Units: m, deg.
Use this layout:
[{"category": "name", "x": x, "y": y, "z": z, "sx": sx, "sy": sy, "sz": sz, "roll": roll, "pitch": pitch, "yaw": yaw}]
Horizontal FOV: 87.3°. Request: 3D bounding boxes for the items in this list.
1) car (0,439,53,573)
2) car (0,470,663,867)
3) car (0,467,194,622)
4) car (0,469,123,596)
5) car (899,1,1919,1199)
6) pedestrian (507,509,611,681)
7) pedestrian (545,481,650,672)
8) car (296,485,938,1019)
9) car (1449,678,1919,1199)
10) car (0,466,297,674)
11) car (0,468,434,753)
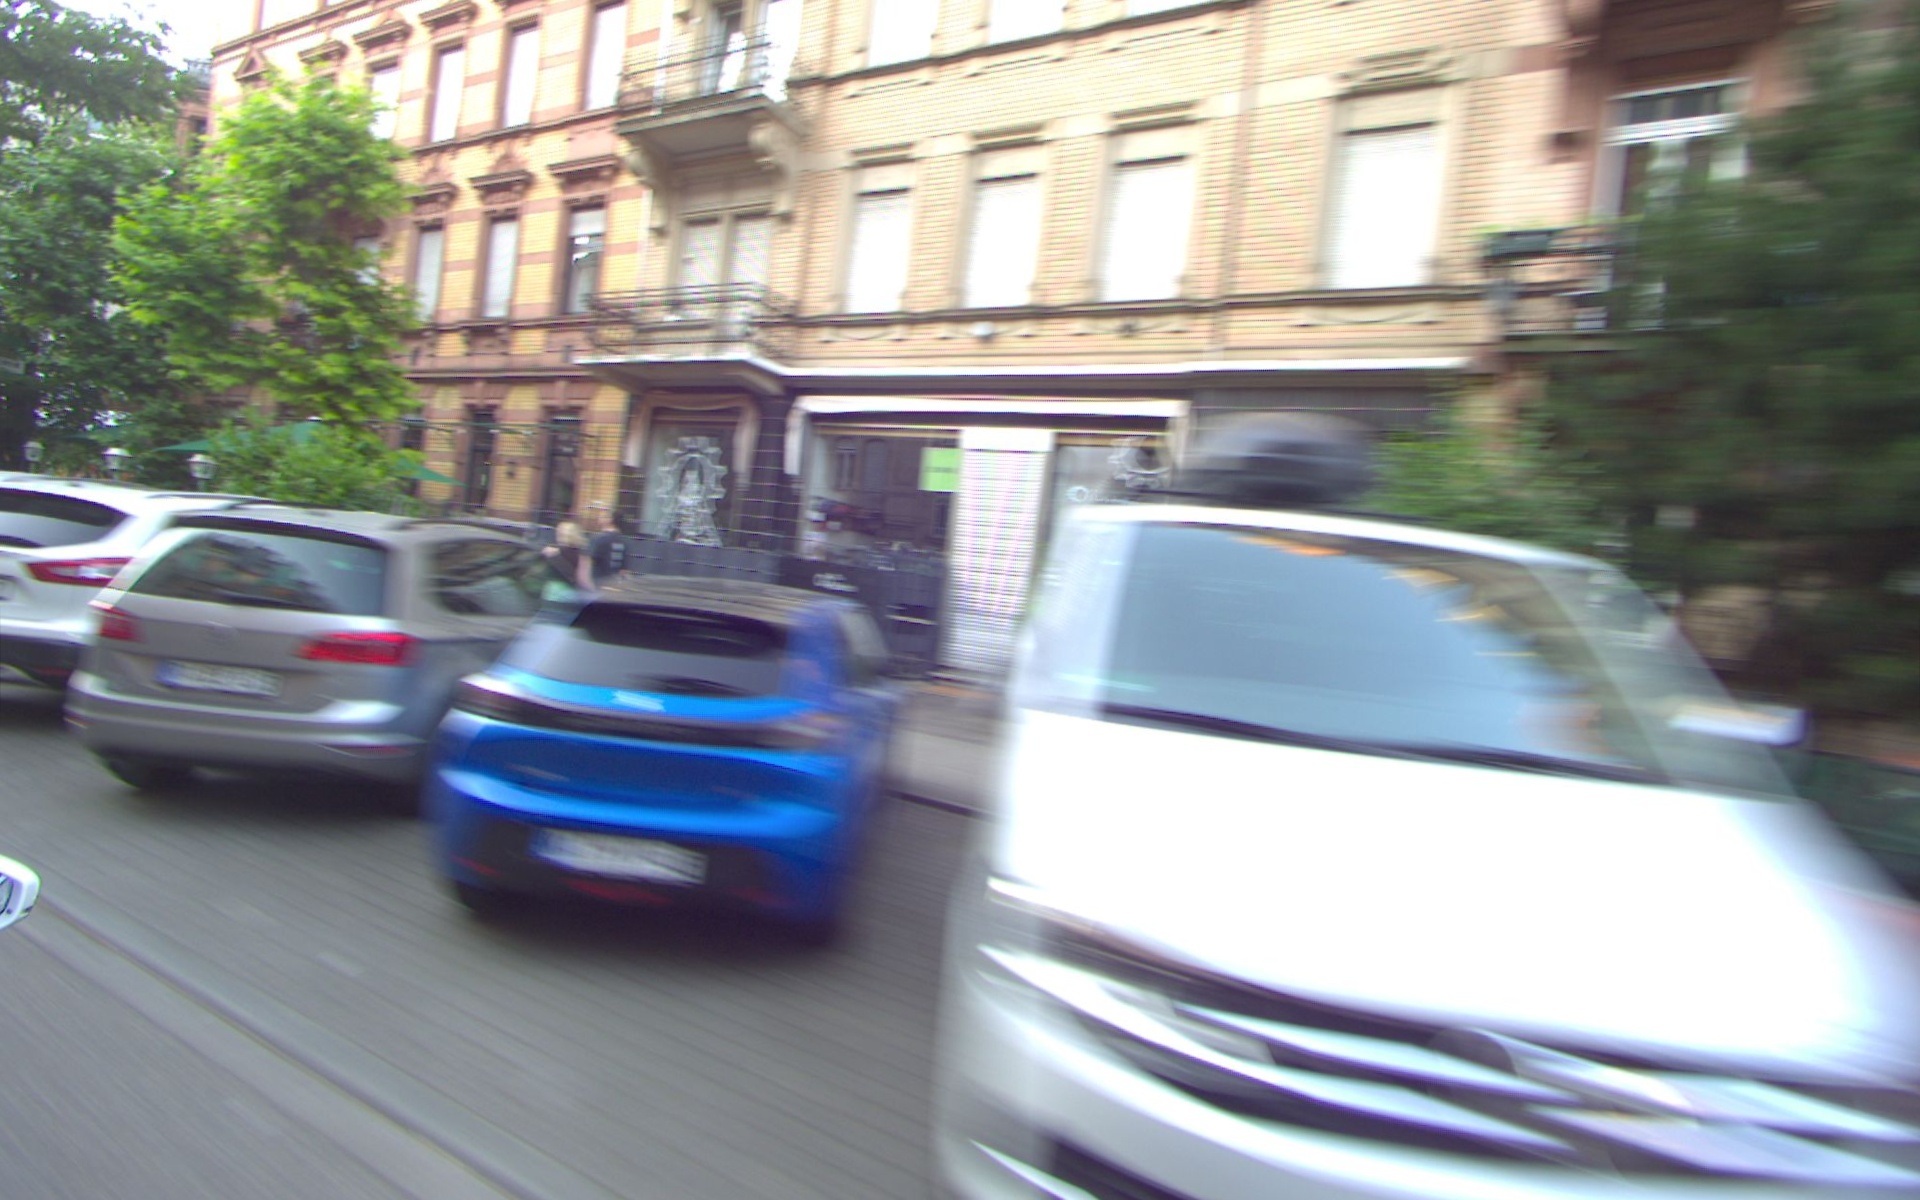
[{"category": "car", "x": -15.759, "y": -1.483, "z": 13.952, "sx": 1.900, "sy": 2.100, "sz": 5.424, "roll": 6, "pitch": 2, "yaw": -8}, {"category": "car", "x": -3.583, "y": 0.247, "z": 6.678, "sx": 1.851, "sy": 1.612, "sz": 4.161, "roll": 7, "pitch": 2, "yaw": -1}, {"category": "car", "x": -10.766, "y": -0.672, "z": 10.878, "sx": 1.785, "sy": 1.572, "sz": 4.103, "roll": 6, "pitch": 2, "yaw": -1}, {"category": "car", "x": -12.927, "y": -0.919, "z": 12.381, "sx": 1.785, "sy": 1.572, "sz": 4.103, "roll": 6, "pitch": 2, "yaw": -1}, {"category": "car", "x": 1.131, "y": 0.435, "z": 3.928, "sx": 1.962, "sy": 2.392, "sz": 4.939, "roll": 7, "pitch": 0, "yaw": 4}, {"category": "pedestrian", "x": -4.193, "y": -0.051, "z": 10.527, "sx": 0.647, "sy": 1.700, "sz": 0.622, "roll": 6, "pitch": -1, "yaw": 45}, {"category": "pedestrian", "x": -4.062, "y": -0.258, "z": 11.291, "sx": 0.644, "sy": 2.037, "sz": 0.624, "roll": 6, "pitch": -1, "yaw": 31}, {"category": "car", "x": -1.236, "y": 0.525, "z": 5.536, "sx": 1.851, "sy": 1.610, "sz": 4.166, "roll": 7, "pitch": 0, "yaw": 2}, {"category": "car", "x": 3.363, "y": 1.186, "z": 2.934, "sx": 1.727, "sy": 1.426, "sz": 3.865, "roll": 6, "pitch": 0, "yaw": -3}, {"category": "car", "x": -8.635, "y": -0.411, "z": 9.910, "sx": 1.787, "sy": 1.612, "sz": 4.099, "roll": 6, "pitch": 2, "yaw": -8}, {"category": "car", "x": -6.162, "y": -0.077, "z": 7.916, "sx": 1.785, "sy": 1.612, "sz": 4.104, "roll": 6, "pitch": 2, "yaw": -1}]
